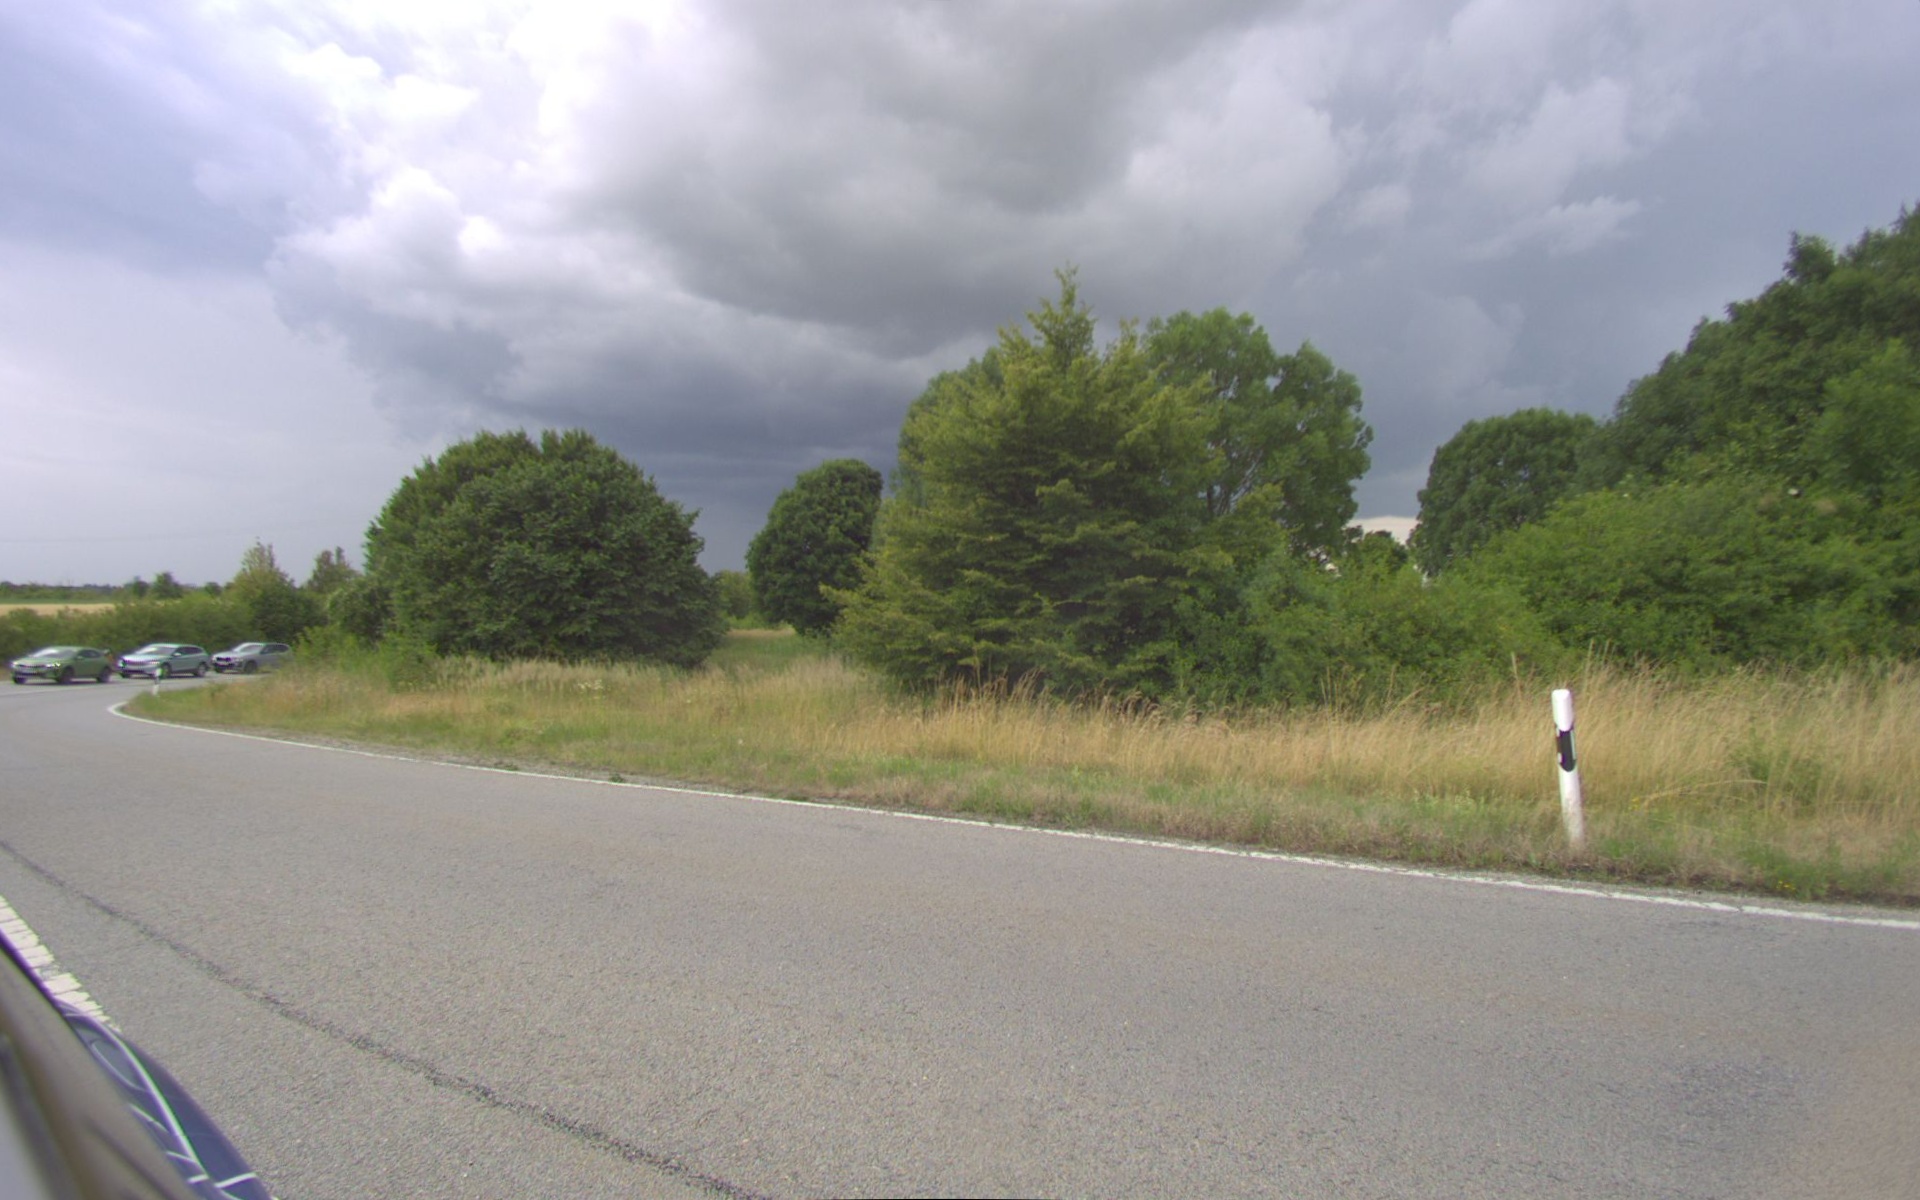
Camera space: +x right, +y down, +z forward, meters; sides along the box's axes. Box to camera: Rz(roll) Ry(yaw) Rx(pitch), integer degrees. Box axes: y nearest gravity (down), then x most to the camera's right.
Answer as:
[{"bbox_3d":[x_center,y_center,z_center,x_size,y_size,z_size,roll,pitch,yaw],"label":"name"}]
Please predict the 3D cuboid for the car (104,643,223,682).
[{"bbox_3d":[-38.660,3.054,49.315,1.969,1.733,5.214,2,-4,-6],"label":"car"}]

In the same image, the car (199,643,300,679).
[{"bbox_3d":[-39.367,3.333,56.262,1.972,1.732,5.208,2,-1,0],"label":"car"}]

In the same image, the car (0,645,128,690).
[{"bbox_3d":[-37.166,2.765,41.943,1.967,1.733,5.221,2,-4,-13],"label":"car"}]
